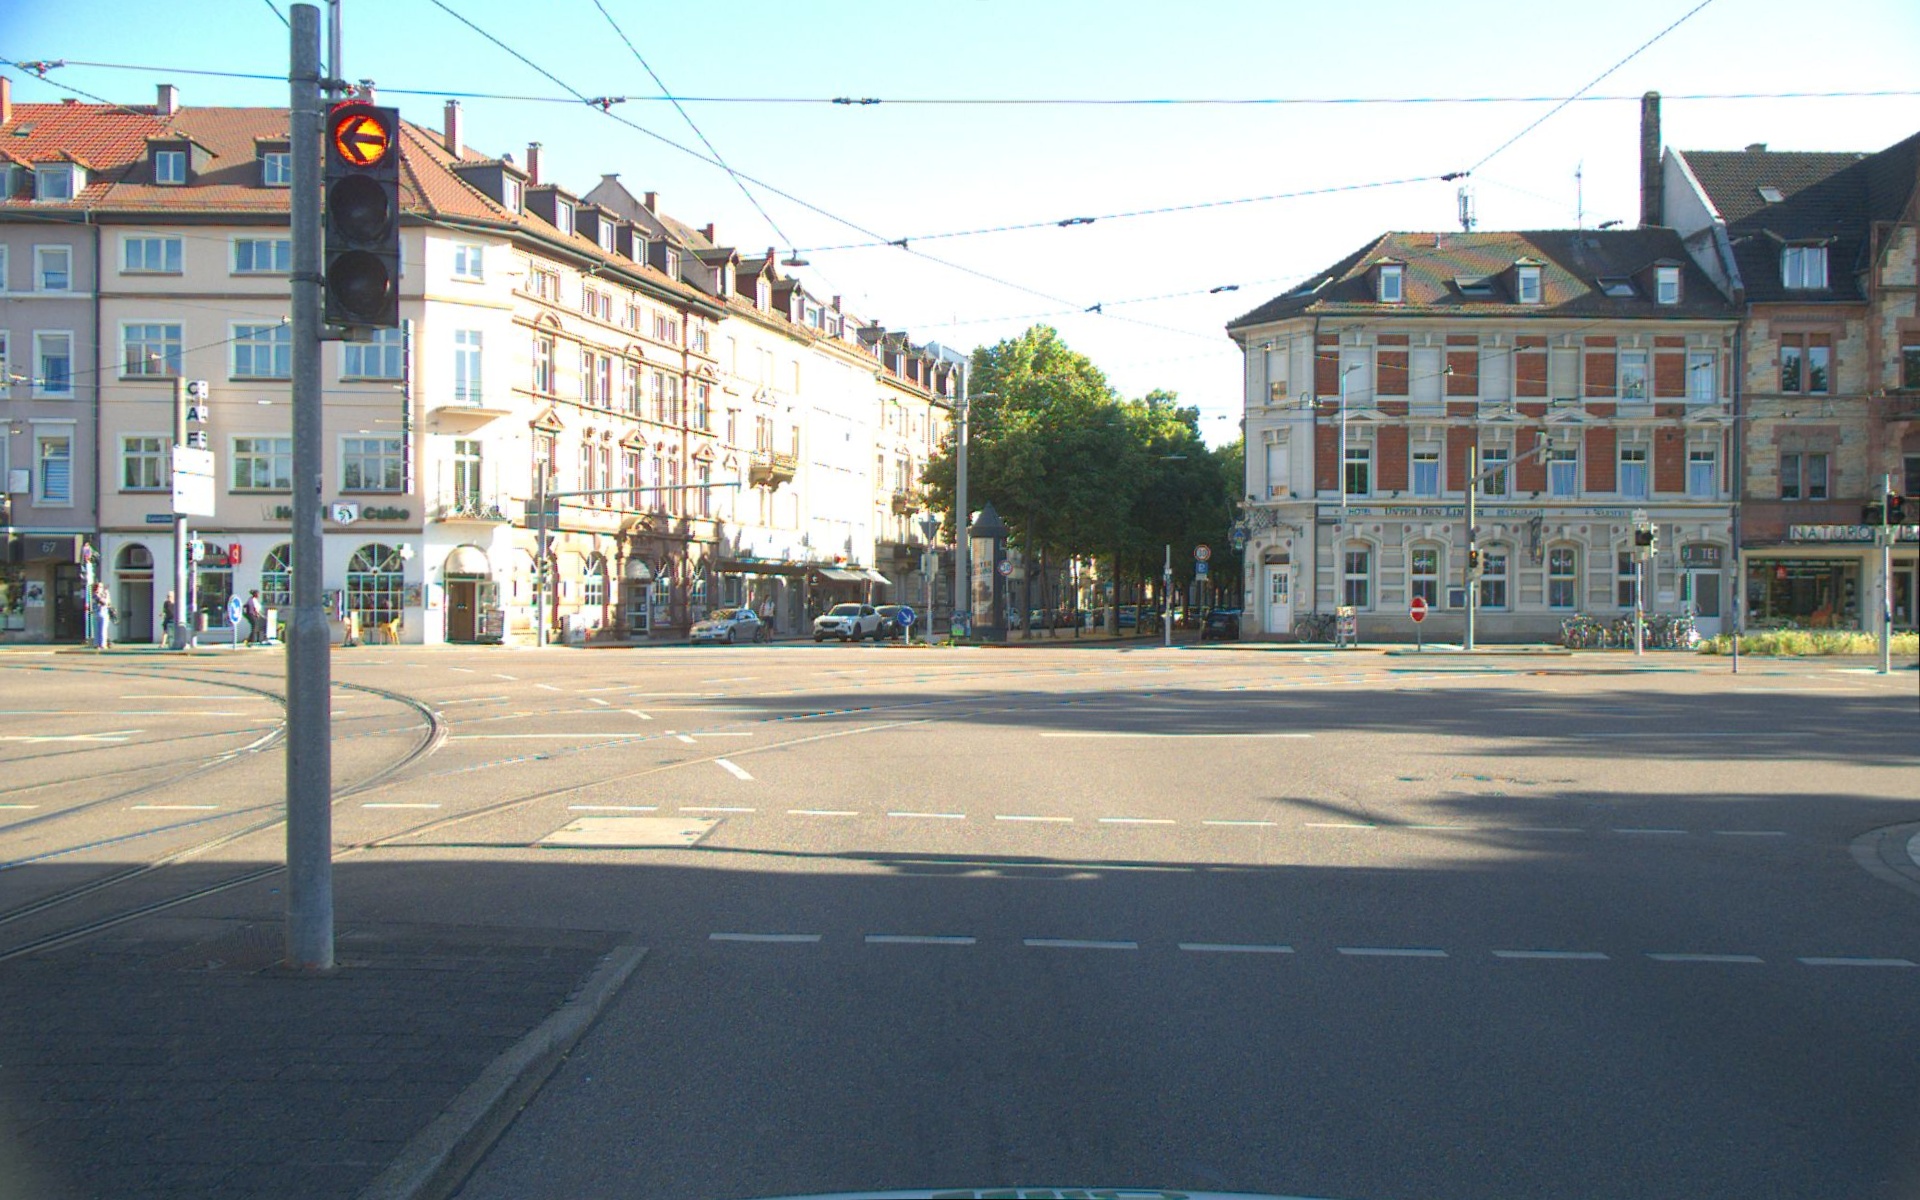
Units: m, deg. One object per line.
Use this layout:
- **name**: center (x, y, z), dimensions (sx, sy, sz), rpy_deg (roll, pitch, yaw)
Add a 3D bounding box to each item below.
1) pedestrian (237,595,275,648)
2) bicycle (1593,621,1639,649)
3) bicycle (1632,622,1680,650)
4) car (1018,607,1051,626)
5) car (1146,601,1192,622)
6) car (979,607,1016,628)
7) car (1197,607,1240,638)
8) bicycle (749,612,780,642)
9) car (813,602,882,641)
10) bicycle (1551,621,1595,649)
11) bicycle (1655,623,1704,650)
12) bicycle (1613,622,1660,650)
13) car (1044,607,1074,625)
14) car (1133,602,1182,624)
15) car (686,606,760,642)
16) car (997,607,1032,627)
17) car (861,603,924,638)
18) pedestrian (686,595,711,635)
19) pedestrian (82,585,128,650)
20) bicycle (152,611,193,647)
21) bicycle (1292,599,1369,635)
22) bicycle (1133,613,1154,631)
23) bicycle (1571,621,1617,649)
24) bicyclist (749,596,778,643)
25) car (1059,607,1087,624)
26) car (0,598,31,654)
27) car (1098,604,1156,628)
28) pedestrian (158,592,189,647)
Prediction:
- **pedestrian**: center (-21.770, 0.655, 51.154), dimensions (0.715, 1.605, 0.828), rpy_deg (0, -1, 43)
- **bicycle**: center (21.191, 1.136, 53.470), dimensions (0.645, 0.855, 2.160), rpy_deg (1, 0, 0)
- **bicycle**: center (22.490, 1.159, 53.484), dimensions (0.645, 0.855, 2.160), rpy_deg (1, 0, 0)
- **car**: center (5.522, 1.226, 122.501), dimensions (1.642, 1.378, 3.593), rpy_deg (0, 0, 16)
- **car**: center (16.929, 0.890, 133.748), dimensions (3.503, 1.677, 1.684), rpy_deg (0, 0, 16)
- **car**: center (2.555, 1.141, 111.339), dimensions (1.642, 1.378, 3.593), rpy_deg (0, 0, 16)
- **car**: center (12.953, 1.109, 82.750), dimensions (1.642, 1.509, 3.950), rpy_deg (0, 0, 16)
- **bicycle**: center (-7.683, 1.046, 65.125), dimensions (0.687, 1.137, 1.636), rpy_deg (1, 0, 13)
- **car**: center (-4.538, 0.843, 67.225), dimensions (1.642, 1.509, 3.774), rpy_deg (0, 0, 16)
- **bicycle**: center (19.760, 1.111, 53.370), dimensions (0.645, 0.855, 2.160), rpy_deg (1, 0, 0)
- **bicycle**: center (23.278, 1.172, 53.530), dimensions (0.645, 0.855, 2.160), rpy_deg (1, 0, 0)
- **bicycle**: center (21.862, 1.148, 53.504), dimensions (0.645, 0.855, 2.160), rpy_deg (1, 0, 0)
- **car**: center (7.880, 1.218, 130.844), dimensions (1.642, 1.378, 3.593), rpy_deg (0, 0, 16)
- **car**: center (15.308, 0.964, 128.248), dimensions (3.503, 1.677, 1.684), rpy_deg (0, 0, 16)
- **car**: center (-9.543, 0.932, 66.743), dimensions (1.642, 1.378, 3.593), rpy_deg (0, 0, 16)
- **car**: center (3.812, 1.161, 115.514), dimensions (1.642, 1.378, 3.593), rpy_deg (0, 0, 16)
- **car**: center (-2.952, 0.887, 73.550), dimensions (1.642, 1.509, 3.950), rpy_deg (0, 0, 16)
- **pedestrian**: center (-11.411, 0.663, 72.242), dimensions (0.759, 1.699, 0.831), rpy_deg (1, -1, 15)
- **pedestrian**: center (-21.357, 0.438, 41.326), dimensions (0.539, 1.605, 0.832), rpy_deg (1, -1, 27)
- **bicycle**: center (-24.663, 0.898, 51.795), dimensions (0.561, 1.096, 1.497), rpy_deg (1, 0, -1)
- **bicycle**: center (12.865, 0.591, 57.458), dimensions (2.504, 1.194, 0.818), rpy_deg (1, -1, -4)
- **bicycle**: center (11.044, 1.299, 99.628), dimensions (0.625, 1.039, 1.840), rpy_deg (1, 0, -14)
- **bicycle**: center (20.479, 1.124, 53.457), dimensions (0.645, 0.855, 2.160), rpy_deg (1, 0, 0)
- **bicyclist**: center (-7.717, 0.765, 65.002), dimensions (0.761, 1.834, 1.056), rpy_deg (1, -1, 13)
- **car**: center (9.304, 1.255, 135.896), dimensions (1.642, 1.378, 3.593), rpy_deg (0, 0, 16)
- **car**: center (-32.153, 0.785, 52.251), dimensions (4.276, 1.741, 2.306), rpy_deg (1, 0, 1)
- **car**: center (11.704, 1.120, 115.835), dimensions (3.819, 1.677, 1.684), rpy_deg (0, 0, 16)
- **pedestrian**: center (-24.658, 0.597, 51.880), dimensions (0.570, 1.699, 0.752), rpy_deg (1, -1, -1)
